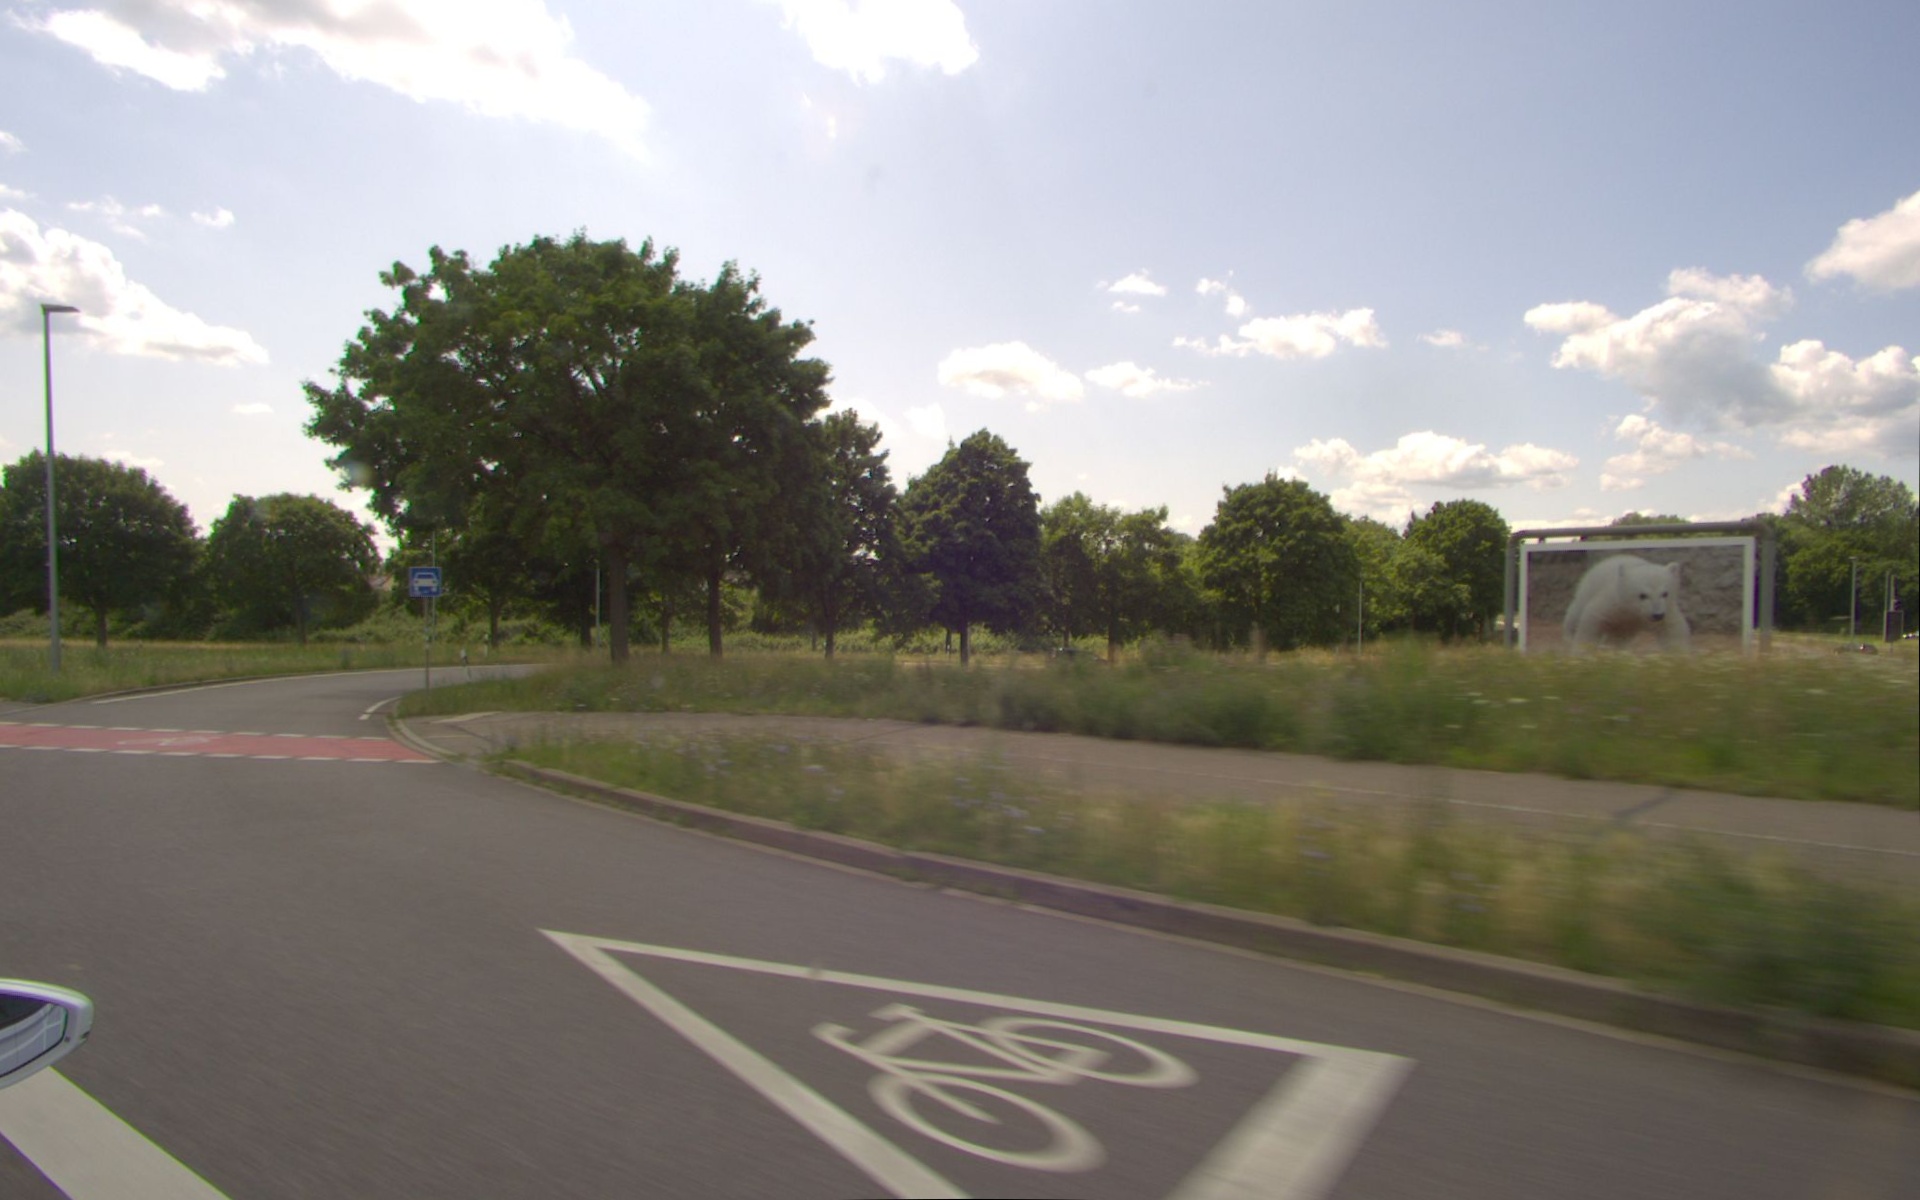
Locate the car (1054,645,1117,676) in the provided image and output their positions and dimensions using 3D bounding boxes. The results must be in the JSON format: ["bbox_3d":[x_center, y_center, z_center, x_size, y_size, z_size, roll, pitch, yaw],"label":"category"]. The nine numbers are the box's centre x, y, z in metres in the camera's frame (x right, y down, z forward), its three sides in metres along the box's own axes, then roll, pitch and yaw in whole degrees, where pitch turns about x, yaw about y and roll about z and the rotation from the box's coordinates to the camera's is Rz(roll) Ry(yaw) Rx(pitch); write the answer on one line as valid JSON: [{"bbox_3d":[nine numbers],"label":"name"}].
[{"bbox_3d":[8.854,4.254,70.898,3.926,2.040,1.998,1,-1,-12],"label":"car"}]
